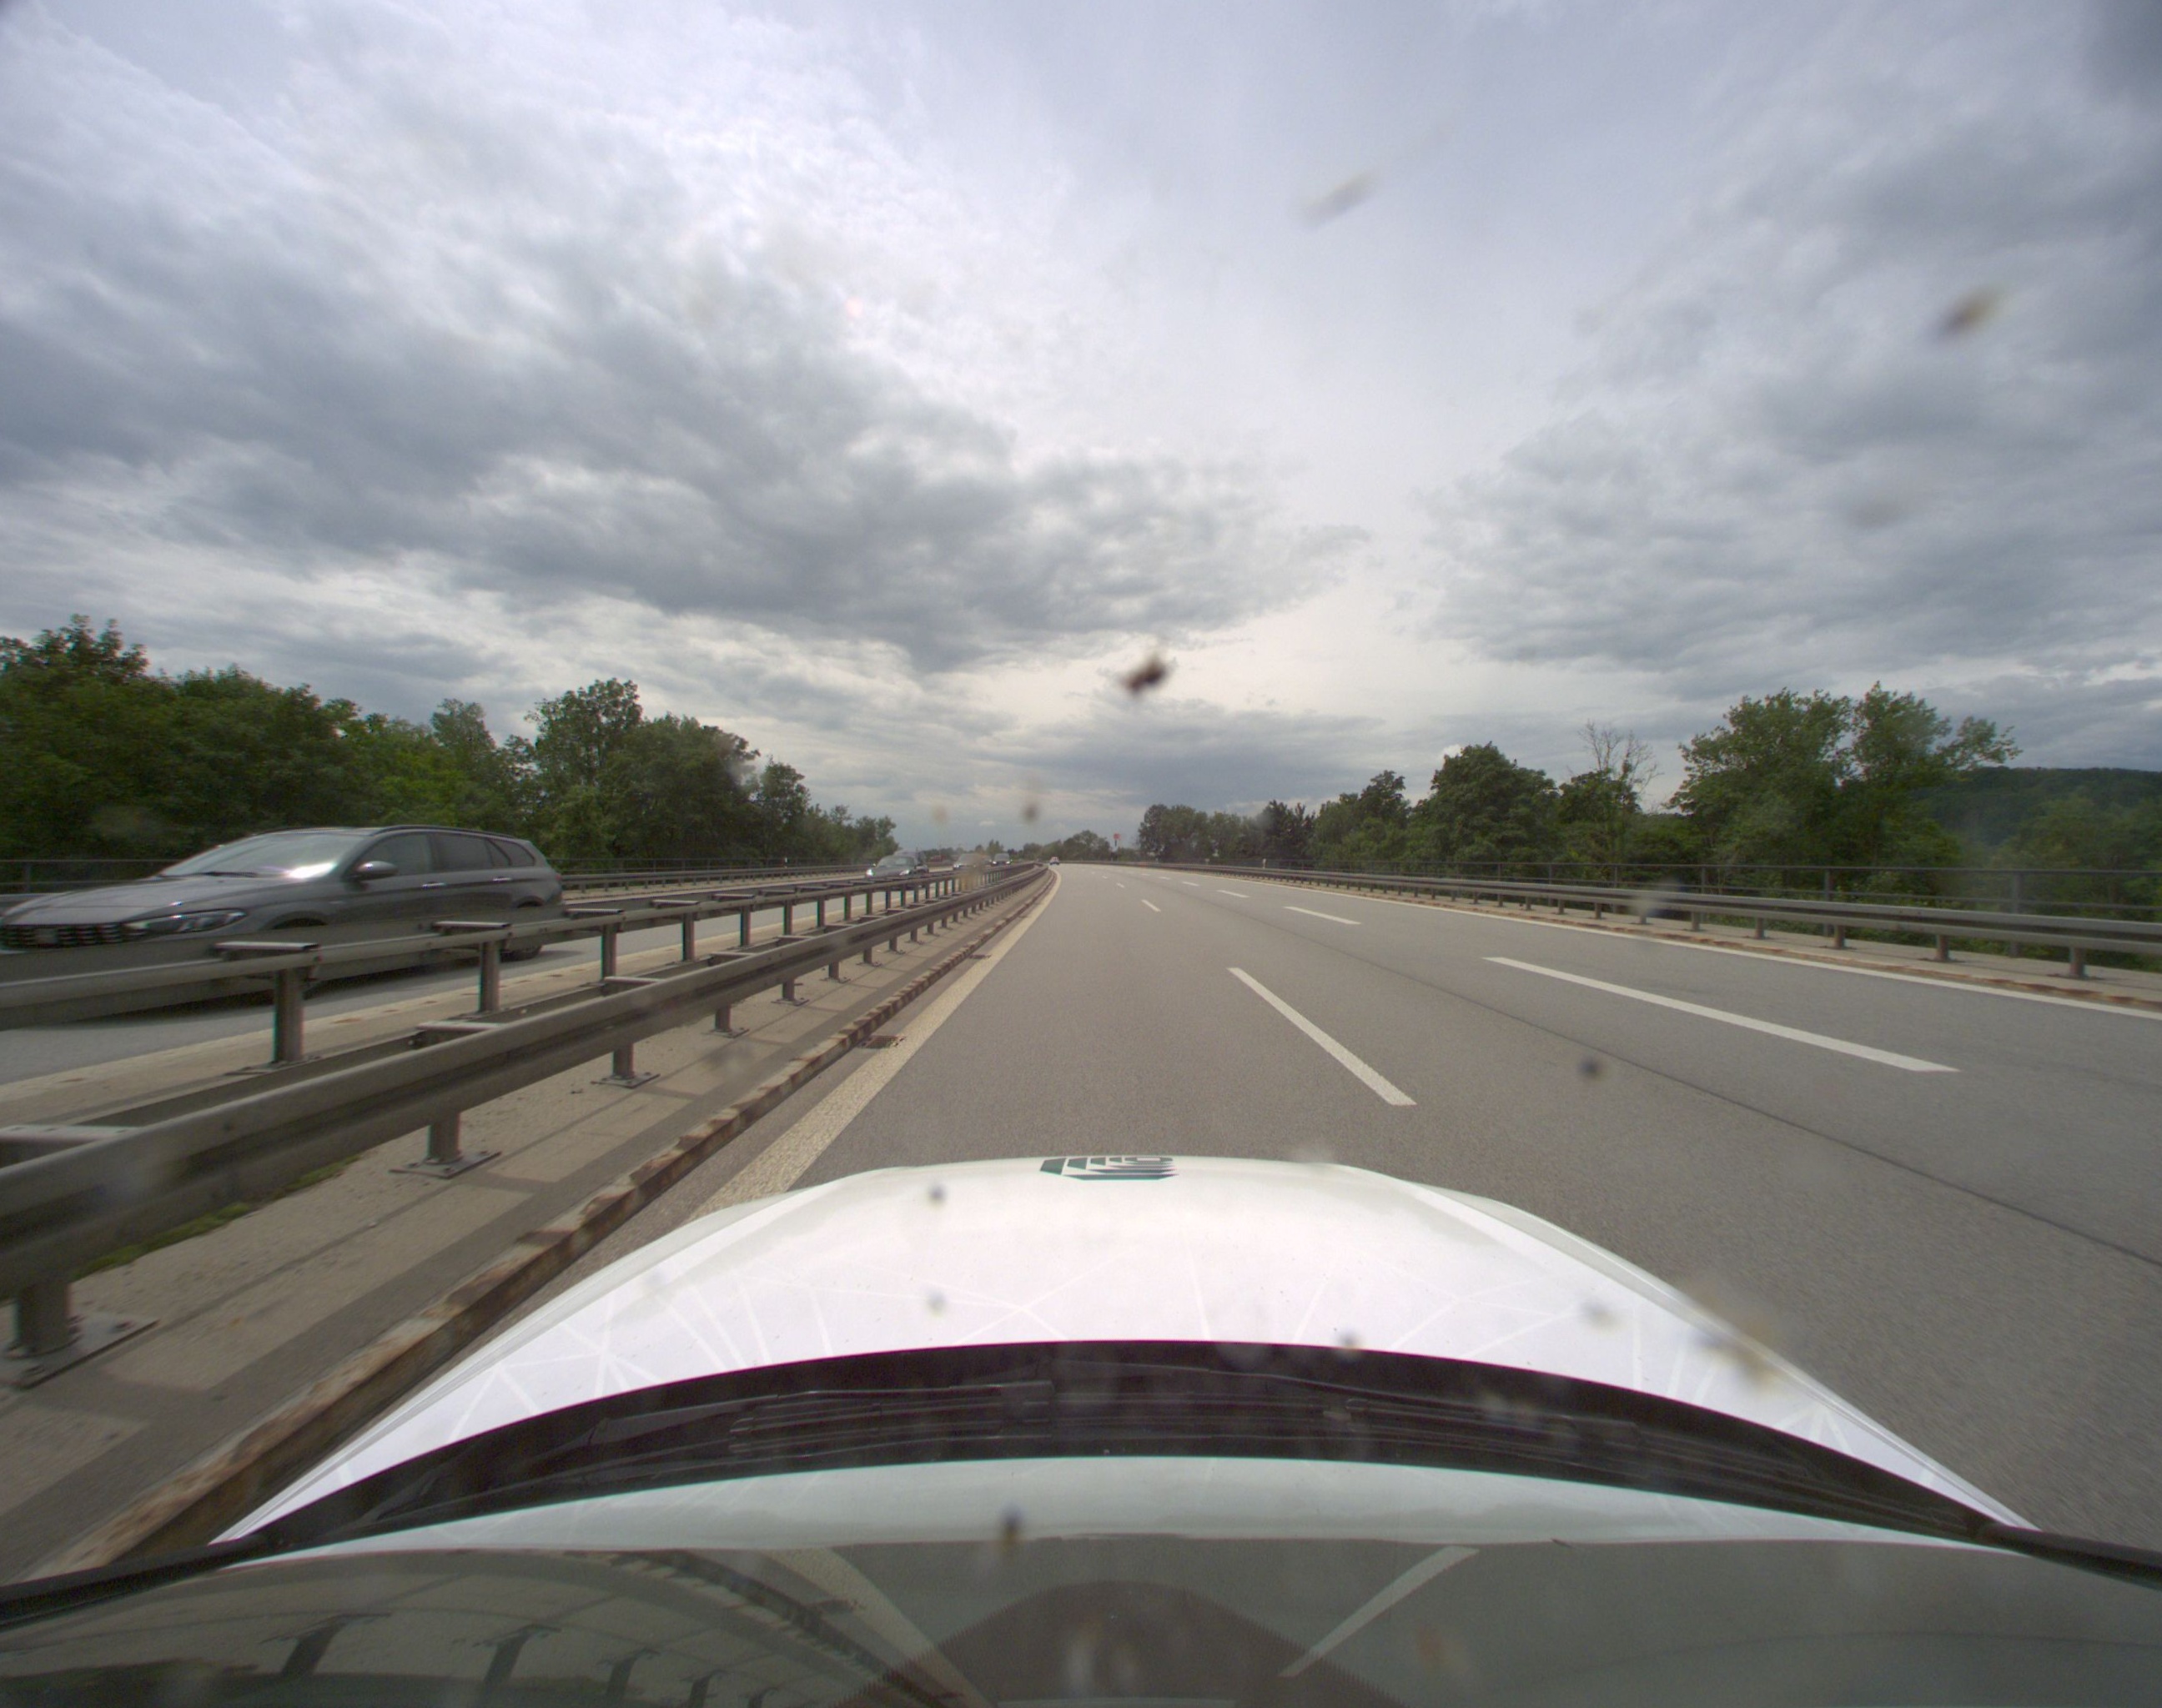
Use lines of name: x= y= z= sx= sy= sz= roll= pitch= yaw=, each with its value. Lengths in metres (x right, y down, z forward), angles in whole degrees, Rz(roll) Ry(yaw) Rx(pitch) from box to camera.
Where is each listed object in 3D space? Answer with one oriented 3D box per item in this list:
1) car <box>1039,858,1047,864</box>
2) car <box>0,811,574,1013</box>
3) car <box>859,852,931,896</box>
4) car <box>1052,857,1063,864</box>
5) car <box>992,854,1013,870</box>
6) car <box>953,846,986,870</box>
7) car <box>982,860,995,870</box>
car: x=-10.529 y=1.951 z=226.784 sx=1.891 sy=1.640 sz=4.608 roll=1 pitch=-1 yaw=-8
car: x=-7.058 y=0.417 z=7.876 sx=1.686 sy=1.437 sz=4.110 roll=0 pitch=0 yaw=0
car: x=-6.826 y=0.693 z=30.219 sx=1.638 sy=1.549 sz=4.001 roll=0 pitch=0 yaw=2
car: x=-5.384 y=1.481 z=183.795 sx=1.902 sy=1.640 sz=4.382 roll=0 pitch=-1 yaw=-9
car: x=-8.018 y=0.788 z=83.371 sx=1.638 sy=1.605 sz=4.000 roll=0 pitch=0 yaw=1
car: x=-7.360 y=0.277 z=54.168 sx=1.639 sy=1.549 sz=3.999 roll=-1 pitch=0 yaw=0
car: x=-14.479 y=1.727 z=127.622 sx=1.706 sy=1.640 sz=4.563 roll=0 pitch=-1 yaw=-3
